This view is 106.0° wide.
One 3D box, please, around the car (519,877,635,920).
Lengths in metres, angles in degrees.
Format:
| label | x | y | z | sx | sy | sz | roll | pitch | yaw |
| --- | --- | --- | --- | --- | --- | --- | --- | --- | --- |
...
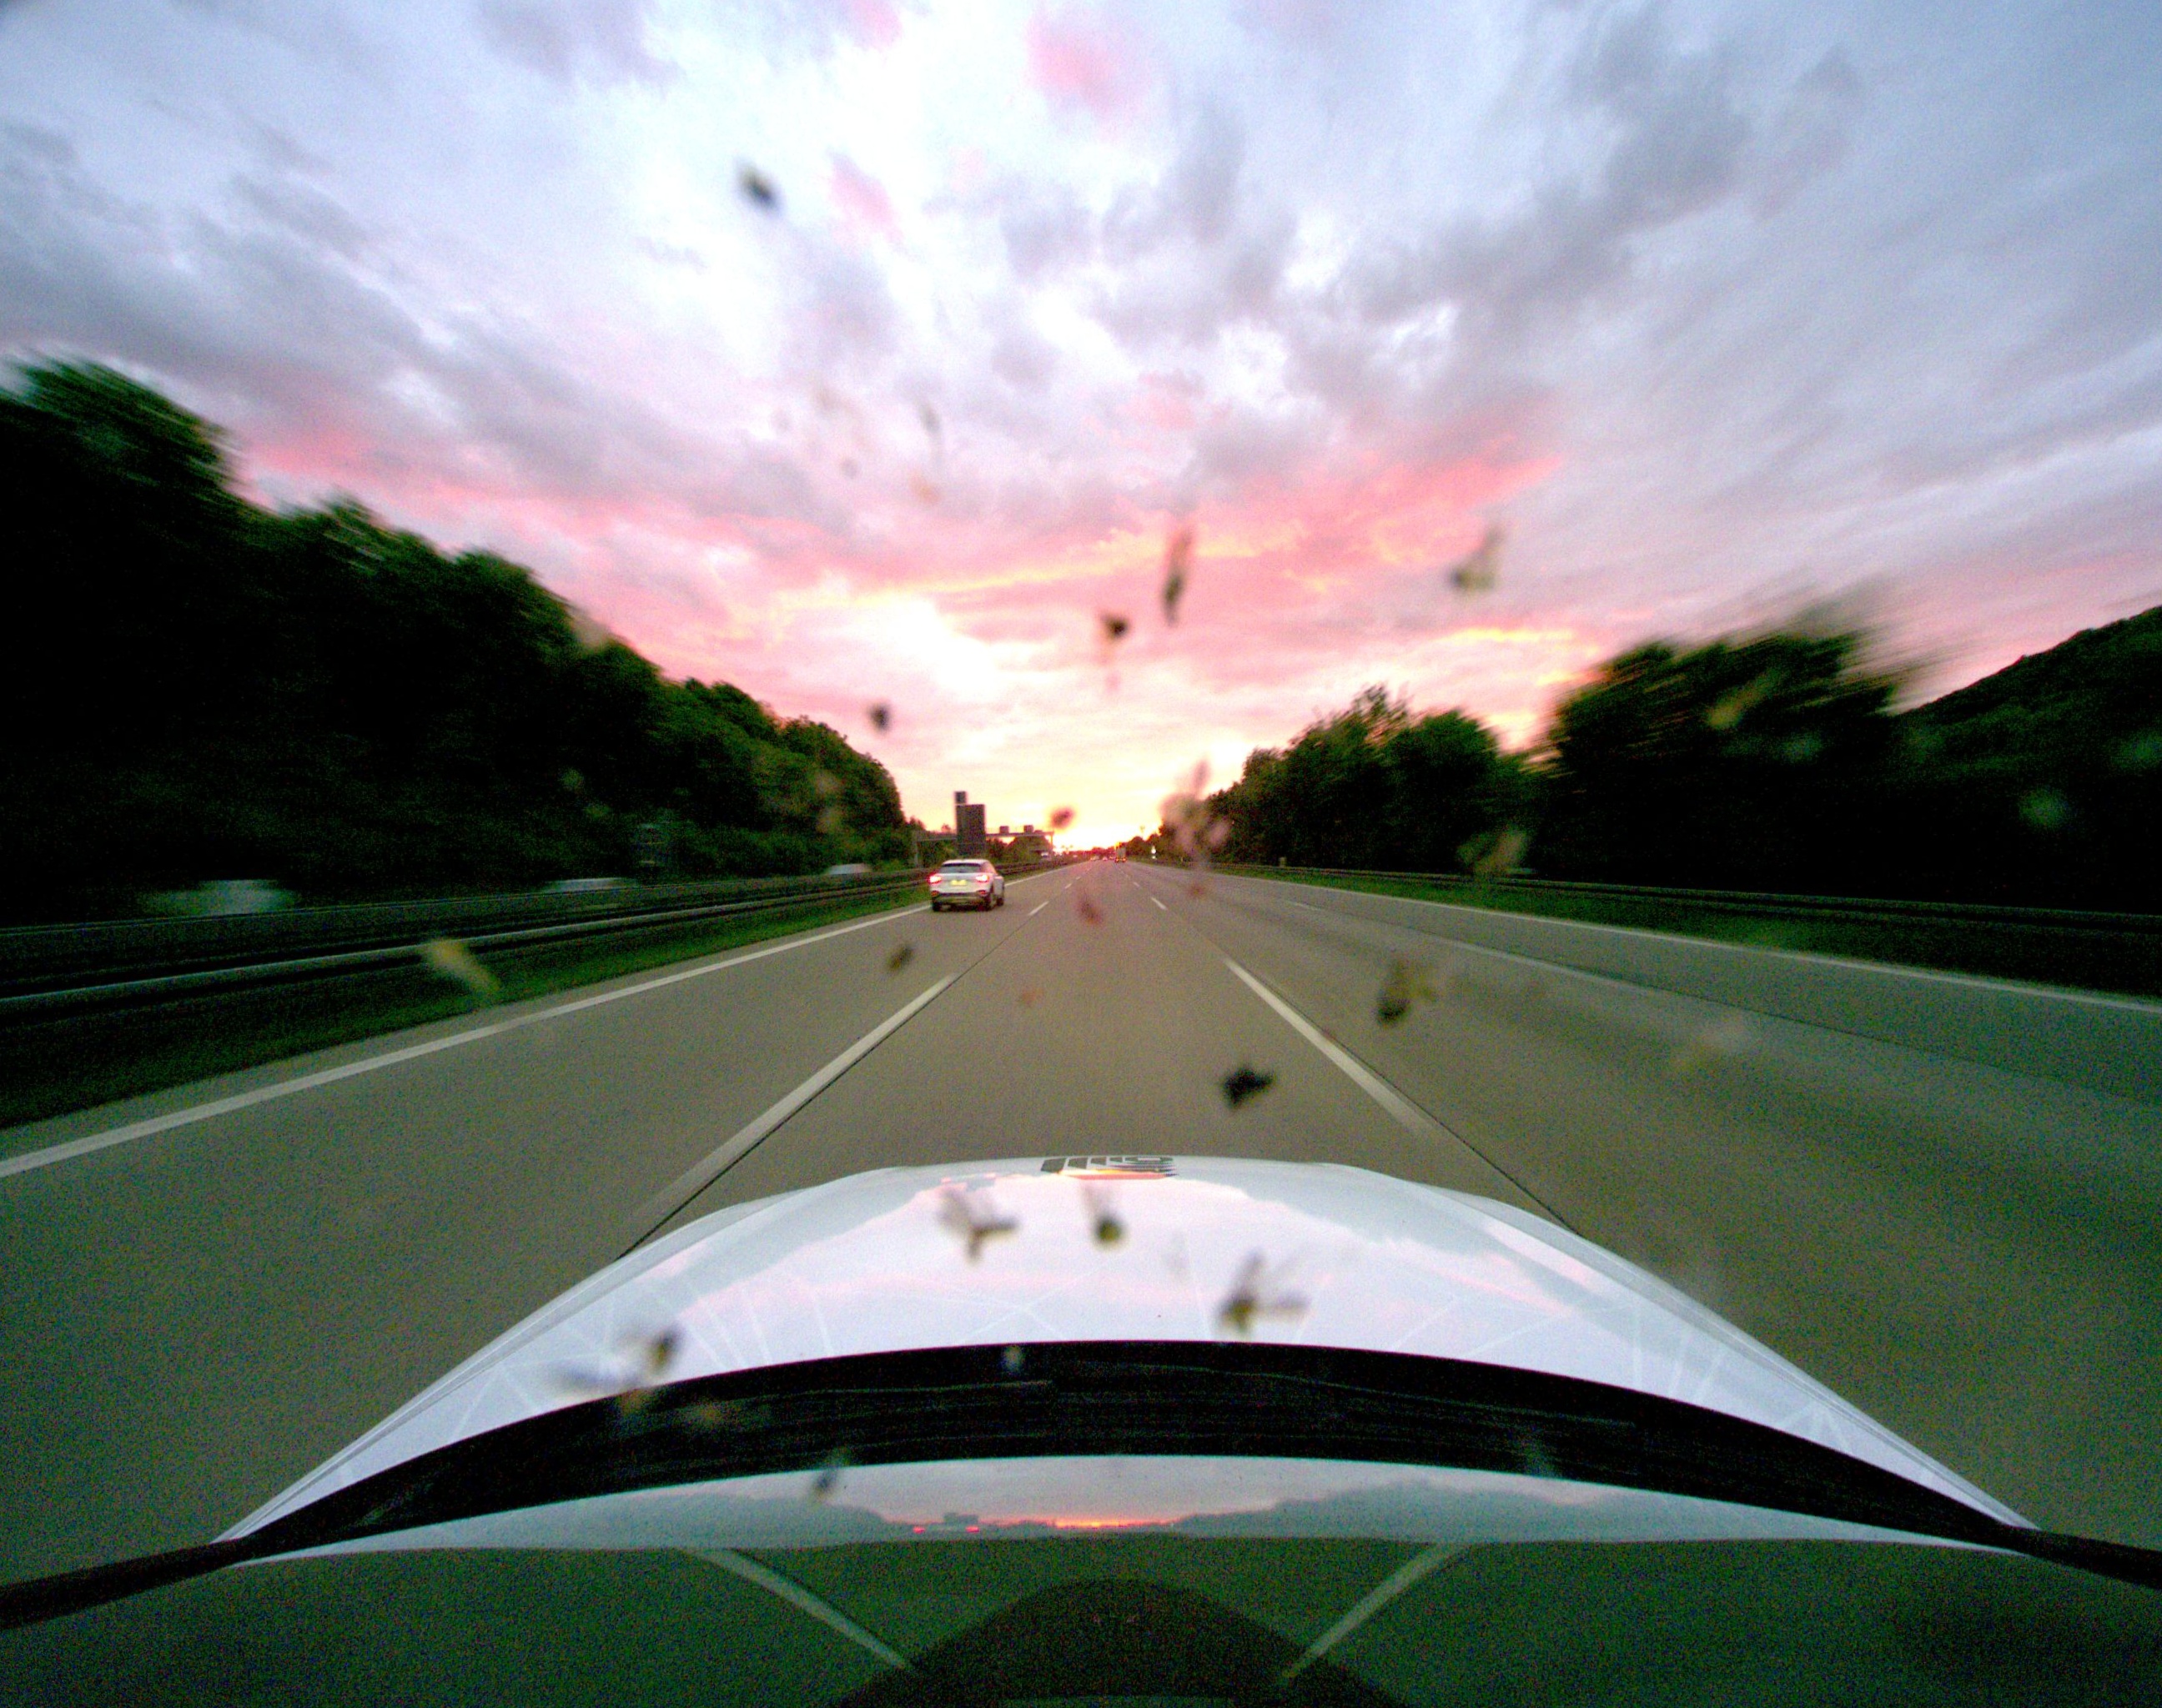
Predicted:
| label | x | y | z | sx | sy | sz | roll | pitch | yaw |
| --- | --- | --- | --- | --- | --- | --- | --- | --- | --- |
| car | -19.898 | 1.707 | 32.410 | 1.756 | 1.481 | 4.391 | -1 | 0 | 1 |

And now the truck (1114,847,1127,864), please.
| label | x | y | z | sx | sy | sz | roll | pitch | yaw |
| --- | --- | --- | --- | --- | --- | --- | --- | --- | --- |
| truck | 10.277 | 0.464 | 212.274 | 3.232 | 4.127 | 9.792 | -2 | 0 | 2 |

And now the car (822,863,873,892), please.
| label | x | y | z | sx | sy | sz | roll | pitch | yaw |
| --- | --- | --- | --- | --- | --- | --- | --- | --- | --- |
| car | -14.594 | 1.421 | 51.084 | 1.756 | 1.694 | 4.459 | -1 | 0 | 1 |

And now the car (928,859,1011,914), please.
| label | x | y | z | sx | sy | sz | roll | pitch | yaw |
| --- | --- | --- | --- | --- | --- | --- | --- | --- | --- |
| car | -3.350 | 0.920 | 25.449 | 1.783 | 1.501 | 5.039 | -1 | 0 | 1 |
